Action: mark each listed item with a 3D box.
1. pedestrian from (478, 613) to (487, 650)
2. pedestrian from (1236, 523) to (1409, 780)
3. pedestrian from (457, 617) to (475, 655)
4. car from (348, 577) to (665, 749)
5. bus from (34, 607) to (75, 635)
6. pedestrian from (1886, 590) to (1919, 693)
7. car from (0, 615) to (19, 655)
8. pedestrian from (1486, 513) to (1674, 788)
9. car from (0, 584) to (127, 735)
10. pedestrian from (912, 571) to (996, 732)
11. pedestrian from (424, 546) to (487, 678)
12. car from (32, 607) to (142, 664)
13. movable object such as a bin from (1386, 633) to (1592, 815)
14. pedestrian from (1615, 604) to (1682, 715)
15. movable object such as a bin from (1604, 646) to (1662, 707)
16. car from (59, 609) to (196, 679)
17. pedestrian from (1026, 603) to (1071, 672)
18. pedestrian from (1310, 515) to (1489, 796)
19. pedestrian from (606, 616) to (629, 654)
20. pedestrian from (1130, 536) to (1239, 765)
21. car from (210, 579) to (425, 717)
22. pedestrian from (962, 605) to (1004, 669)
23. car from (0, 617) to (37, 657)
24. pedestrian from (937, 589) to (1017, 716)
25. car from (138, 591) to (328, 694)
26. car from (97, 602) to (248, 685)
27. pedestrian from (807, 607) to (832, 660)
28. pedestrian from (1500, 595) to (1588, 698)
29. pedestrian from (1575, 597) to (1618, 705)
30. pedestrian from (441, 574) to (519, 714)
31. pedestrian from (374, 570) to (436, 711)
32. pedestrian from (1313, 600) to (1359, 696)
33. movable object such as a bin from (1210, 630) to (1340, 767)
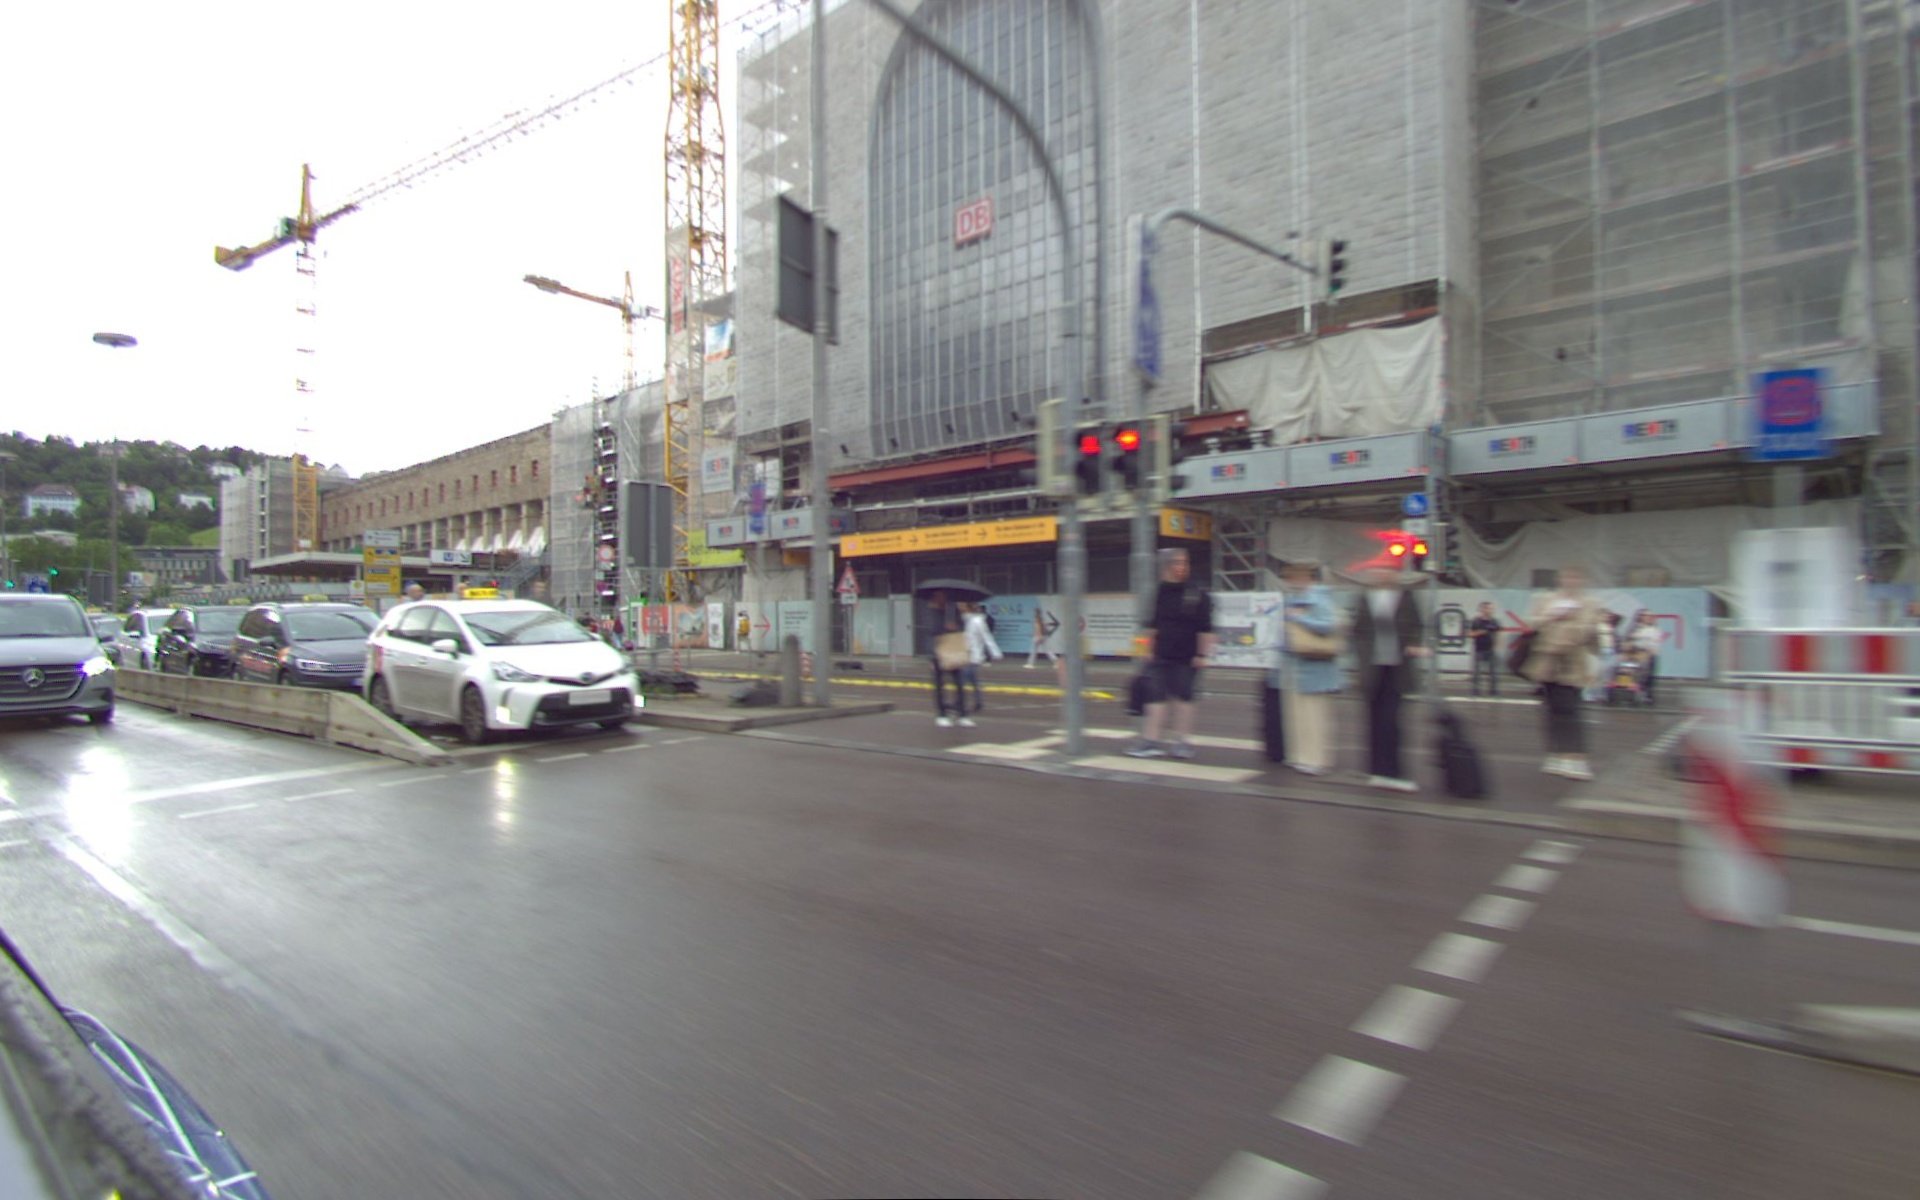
[{"bbox_3d":[-23.839,1.569,50.538,0.334,1.855,0.510,0,-1,-32],"label":"pedestrian"},{"bbox_3d":[2.878,0.391,8.078,0.989,1.901,0.820,0,-1,-26],"label":"pedestrian"},{"bbox_3d":[-24.758,1.799,50.689,0.692,1.855,0.880,-1,-1,-19],"label":"pedestrian"},{"bbox_3d":[-5.633,0.674,12.270,4.665,1.698,1.767,-1,-2,42],"label":"car"},{"bbox_3d":[-120.014,2.789,134.020,19.087,3.605,2.876,-1,-2,45],"label":"bus"},{"bbox_3d":[17.136,0.726,17.865,0.822,1.802,0.984,1,-1,-32],"label":"pedestrian"},{"bbox_3d":[-46.882,1.688,48.727,4.833,1.876,1.971,-1,-2,44],"label":"car"},{"bbox_3d":[4.669,0.357,7.633,1.028,1.895,0.824,-2,-1,44],"label":"pedestrian"},{"bbox_3d":[-14.083,0.804,14.845,5.247,1.918,1.973,-1,0,41],"label":"car"},{"bbox_3d":[-0.071,0.563,11.457,0.756,1.748,0.577,-2,-2,41],"label":"pedestrian"},{"bbox_3d":[-7.977,0.193,15.997,0.836,2.029,0.615,-2,-1,41],"label":"pedestrian"},{"bbox_3d":[-27.645,1.090,31.993,4.638,1.666,1.973,-1,-2,41],"label":"car"},{"bbox_3d":[3.494,0.773,6.705,0.989,1.084,0.751,0,-1,-26],"label":"movable object such as a bin"},{"bbox_3d":[11.954,0.998,17.568,0.877,1.855,0.690,-1,0,40],"label":"pedestrian"},{"bbox_3d":[11.385,1.278,17.117,0.720,0.977,0.751,-1,-2,40],"label":"movable object such as a bin"},{"bbox_3d":[-22.752,1.149,27.590,5.052,1.724,2.028,-1,-2,40],"label":"car"},{"bbox_3d":[2.460,1.035,28.152,0.993,1.855,0.719,-2,-2,41],"label":"pedestrian"},{"bbox_3d":[3.191,0.382,7.372,0.989,1.901,0.685,0,-1,-26],"label":"pedestrian"},{"bbox_3d":[-15.200,1.544,44.898,0.839,1.626,0.669,-2,-1,44],"label":"pedestrian"},{"bbox_3d":[1.991,0.426,8.945,0.689,1.901,0.824,-1,-1,32],"label":"pedestrian"},{"bbox_3d":[-10.367,0.713,16.188,4.608,1.906,1.695,-1,-2,42],"label":"car"},{"bbox_3d":[0.668,1.074,29.637,0.936,1.855,0.810,-2,-2,41],"label":"pedestrian"},{"bbox_3d":[-42.633,1.628,44.851,4.829,1.719,1.973,-1,-2,41],"label":"car"},{"bbox_3d":[0.235,0.703,13.867,0.836,1.677,0.706,-2,-2,41],"label":"pedestrian"},{"bbox_3d":[-14.457,0.790,20.026,4.845,1.800,1.973,-1,-2,41],"label":"car"},{"bbox_3d":[-18.920,0.991,24.256,4.450,1.800,1.973,-1,-2,40],"label":"car"},{"bbox_3d":[-4.980,1.170,35.917,0.529,1.855,0.772,0,-1,-42],"label":"pedestrian"},{"bbox_3d":[10.964,0.854,19.007,0.969,1.855,1.044,0,-1,-28],"label":"pedestrian"},{"bbox_3d":[11.213,0.881,17.825,0.528,1.855,0.690,-2,-2,40],"label":"pedestrian"},{"bbox_3d":[-7.211,0.640,15.255,0.822,2.029,1.030,-1,-1,-11],"label":"pedestrian"},{"bbox_3d":[-8.254,0.595,15.042,0.890,2.029,0.522,-2,-1,39],"label":"pedestrian"},{"bbox_3d":[7.473,0.937,20.103,0.639,1.855,0.765,-1,-2,37],"label":"pedestrian"},{"bbox_3d":[2.691,0.810,8.675,0.732,1.084,0.751,0,-1,-26],"label":"movable object such as a bin"}]
